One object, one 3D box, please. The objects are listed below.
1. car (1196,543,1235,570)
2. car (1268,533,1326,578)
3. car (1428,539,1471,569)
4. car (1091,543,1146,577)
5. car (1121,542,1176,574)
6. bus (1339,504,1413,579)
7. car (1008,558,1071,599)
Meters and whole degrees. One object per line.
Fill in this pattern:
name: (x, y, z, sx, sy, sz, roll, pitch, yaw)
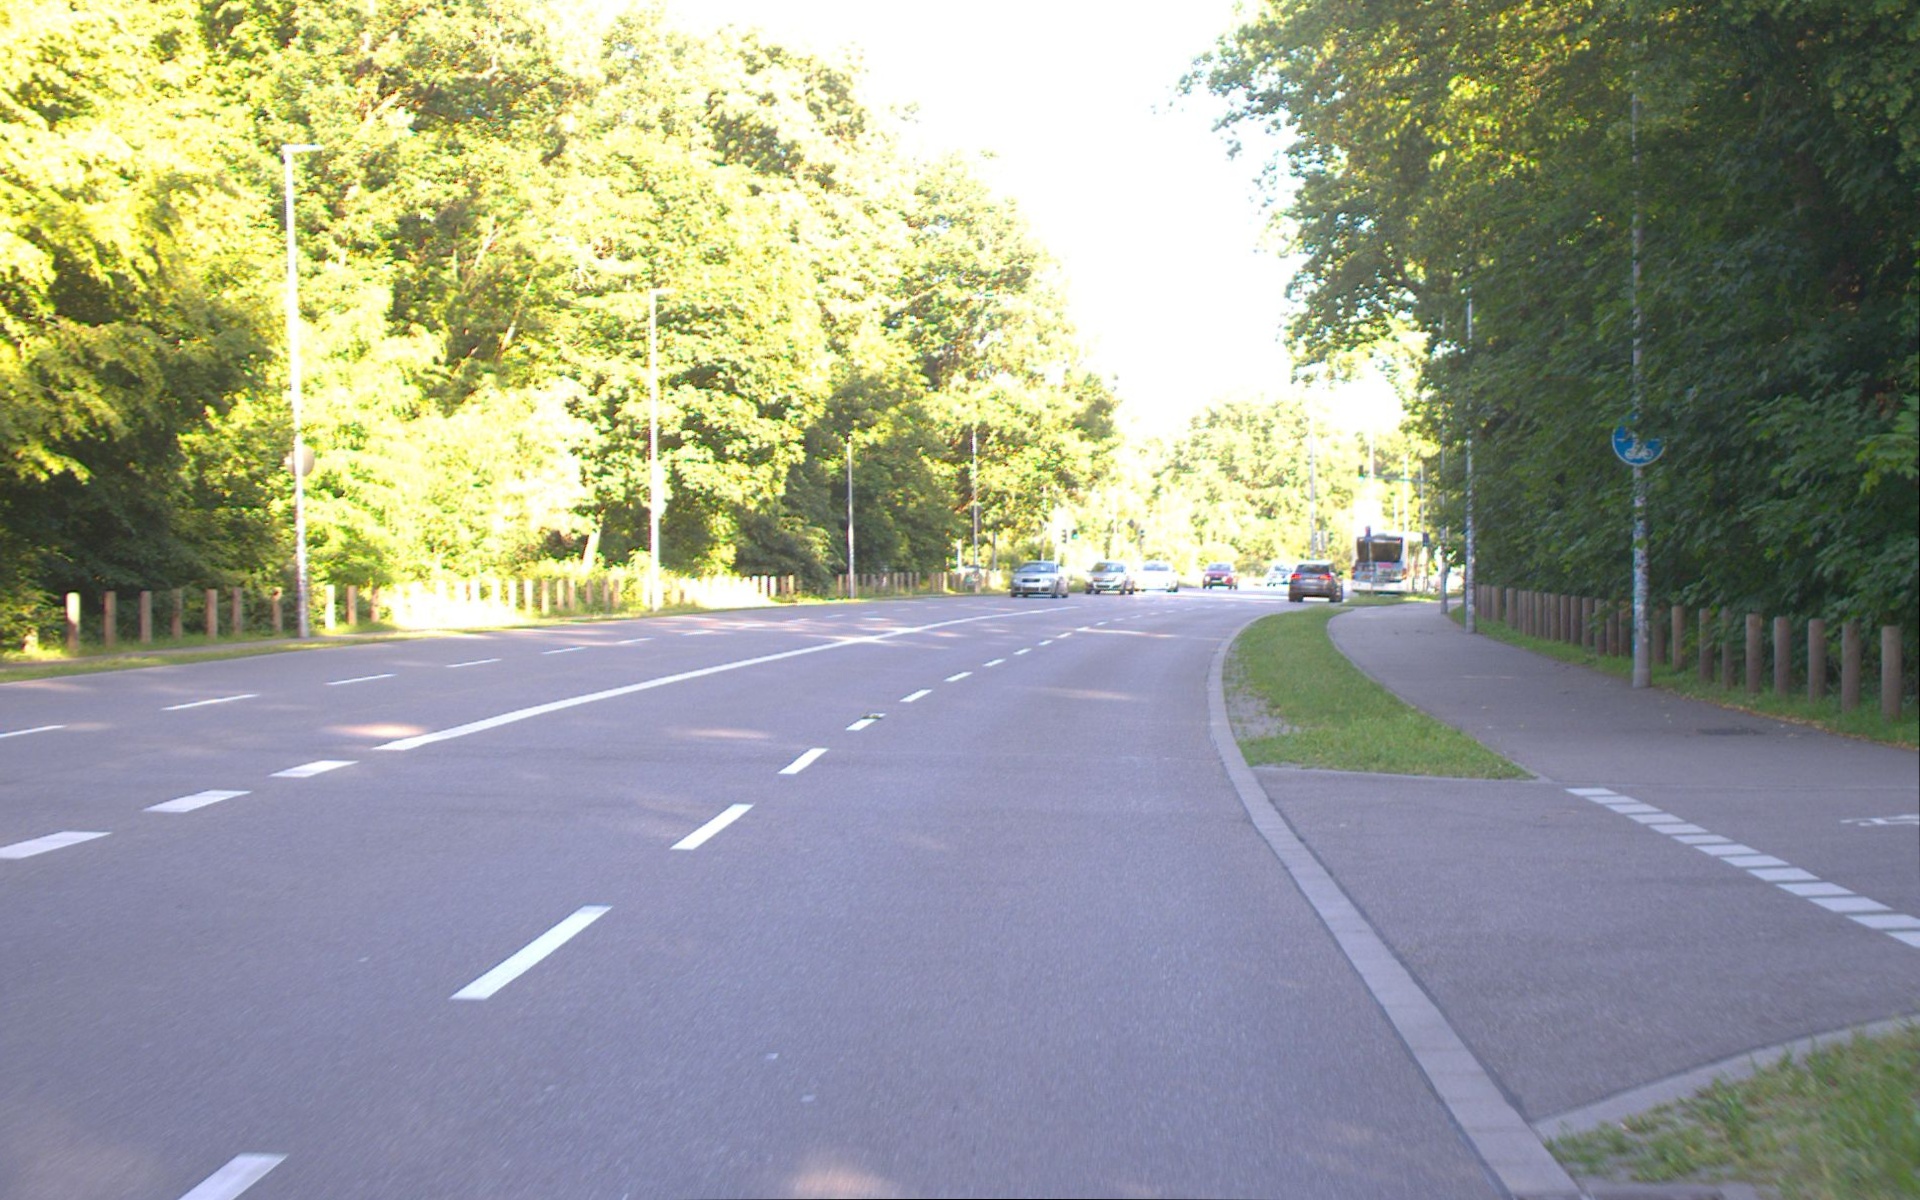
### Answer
car: (14.376, -2.450, 193.439, 1.664, 1.513, 3.805, 0, 1, 13)
car: (13.574, -1.807, 138.288, 1.881, 1.759, 3.998, 0, 1, 13)
car: (27.989, -2.621, 196.413, 1.864, 1.678, 3.770, -1, 1, 17)
car: (6.886, -1.744, 149.023, 1.780, 1.459, 4.272, 0, 1, 11)
car: (8.987, -2.010, 163.599, 1.784, 1.517, 4.395, 0, 1, 14)
bus: (19.327, -2.720, 159.277, 2.606, 3.357, 7.971, 1, 1, 12)
car: (2.986, -0.828, 128.858, 1.780, 1.403, 4.164, 1, 2, 10)
